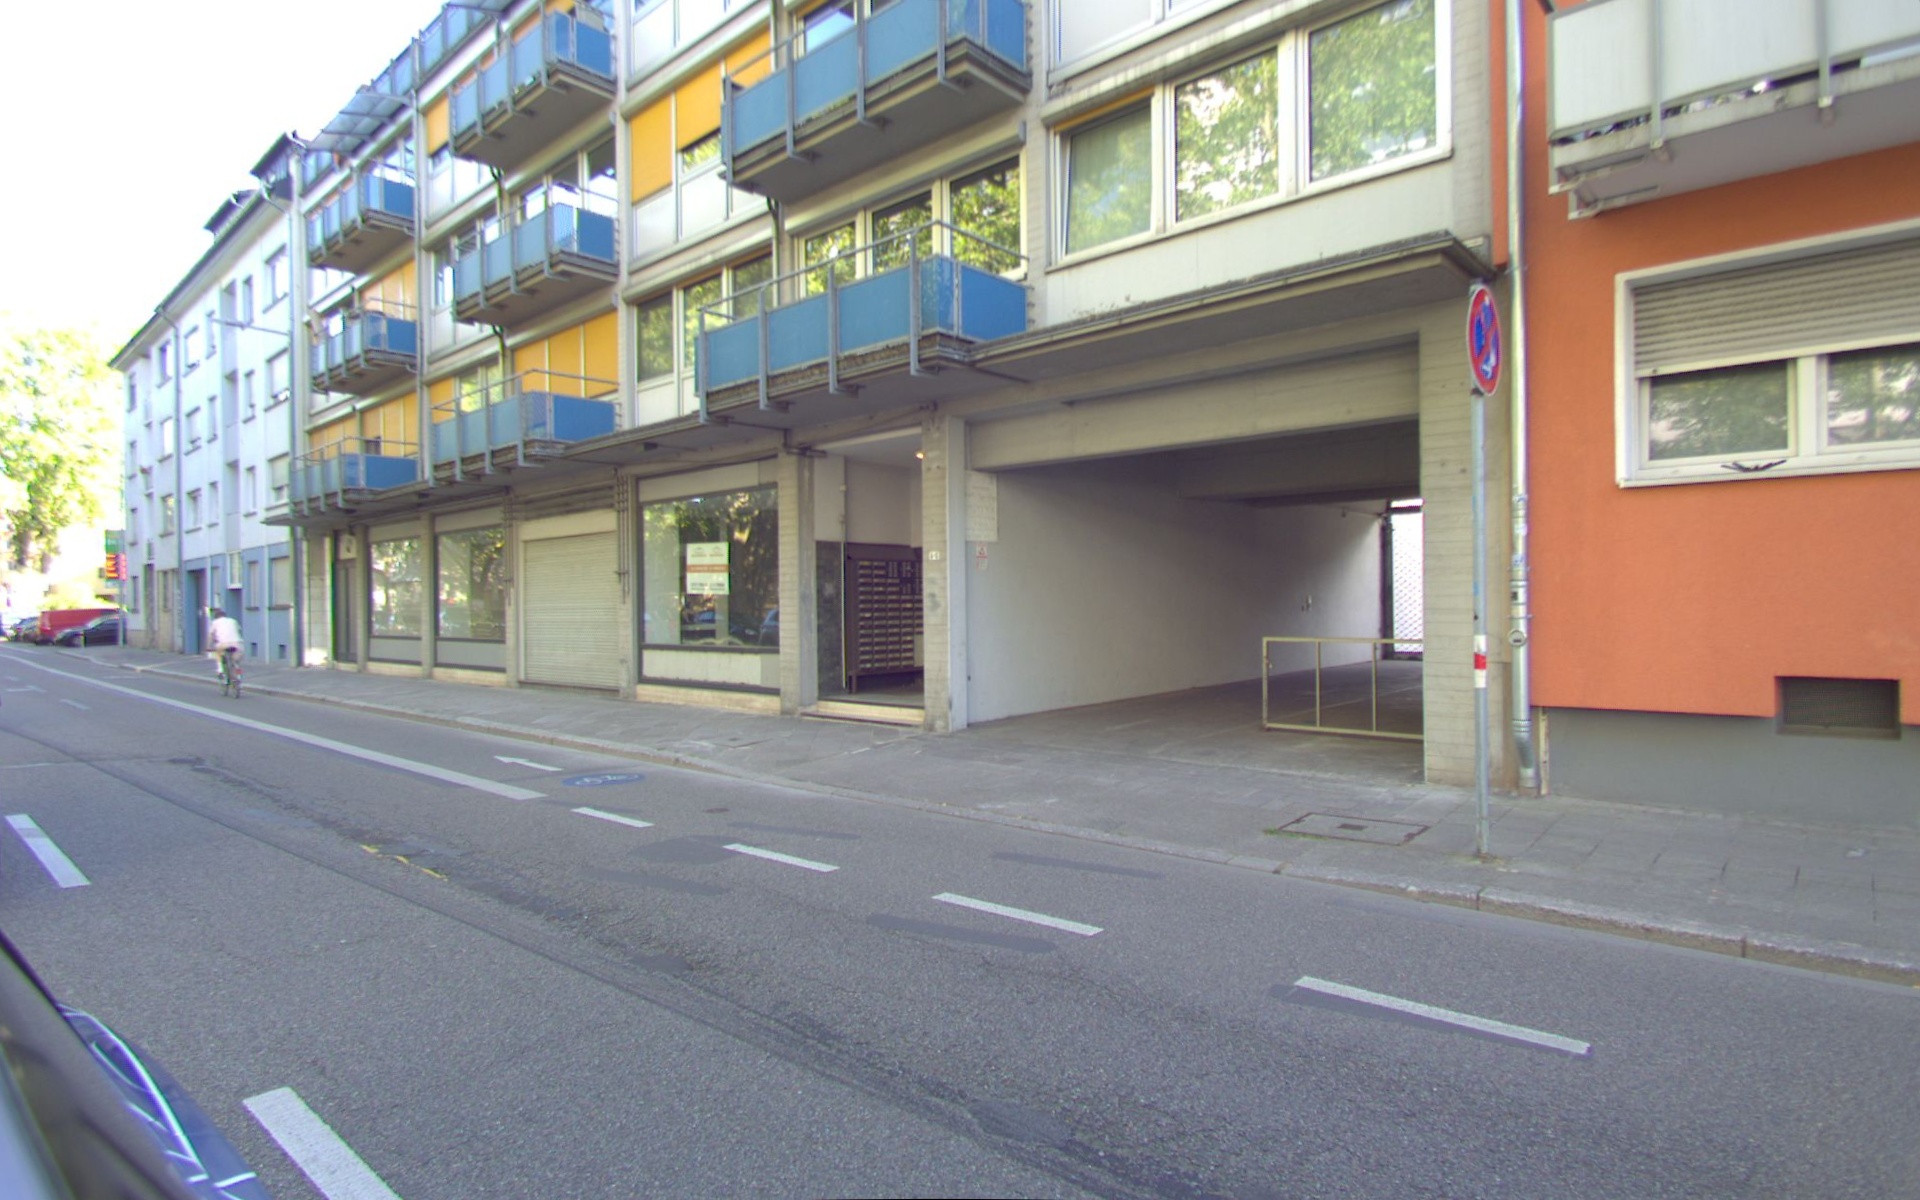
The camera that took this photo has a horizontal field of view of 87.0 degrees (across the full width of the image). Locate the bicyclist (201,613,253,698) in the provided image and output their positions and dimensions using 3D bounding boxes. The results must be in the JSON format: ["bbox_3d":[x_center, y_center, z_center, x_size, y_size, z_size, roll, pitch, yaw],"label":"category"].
[{"bbox_3d":[-14.184,1.052,19.579,0.806,1.570,0.641,-1,0,42],"label":"bicyclist"}]

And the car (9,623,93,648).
[{"bbox_3d":[-57.776,2.246,64.365,1.595,1.385,3.854,-1,1,43],"label":"car"}]

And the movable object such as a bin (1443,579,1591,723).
[{"bbox_3d":[6.174,0.519,11.209,1.143,1.476,1.246,-1,0,44],"label":"movable object such as a bin"}]

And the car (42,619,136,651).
[{"bbox_3d":[-46.117,1.811,53.635,1.602,1.521,3.619,-1,0,43],"label":"car"}]

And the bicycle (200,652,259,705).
[{"bbox_3d":[-14.142,1.492,19.568,1.867,0.898,0.542,-1,0,42],"label":"bicycle"}]

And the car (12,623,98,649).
[{"bbox_3d":[-56.287,2.223,62.998,1.595,1.385,3.854,-1,1,43],"label":"car"}]

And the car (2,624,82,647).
[{"bbox_3d":[-61.537,2.336,67.875,1.526,1.343,3.854,-1,1,43],"label":"car"}]

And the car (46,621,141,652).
[{"bbox_3d":[-44.429,1.855,51.908,1.534,1.420,3.550,-2,0,43],"label":"car"}]

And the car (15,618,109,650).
[{"bbox_3d":[-50.597,1.903,57.074,1.604,1.598,3.854,-1,0,43],"label":"car"}]

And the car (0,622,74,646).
[{"bbox_3d":[-63.535,2.328,69.669,1.539,1.451,3.732,-1,0,43],"label":"car"}]

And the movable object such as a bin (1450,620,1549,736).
[{"bbox_3d":[5.233,0.730,9.818,0.703,1.055,0.563,-1,0,44],"label":"movable object such as a bin"}]

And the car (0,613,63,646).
[{"bbox_3d":[-66.985,2.115,72.561,1.725,2.193,3.854,-1,0,43],"label":"car"}]

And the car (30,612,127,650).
[{"bbox_3d":[-48.279,1.680,55.491,1.749,1.921,3.853,-2,0,43],"label":"car"}]
